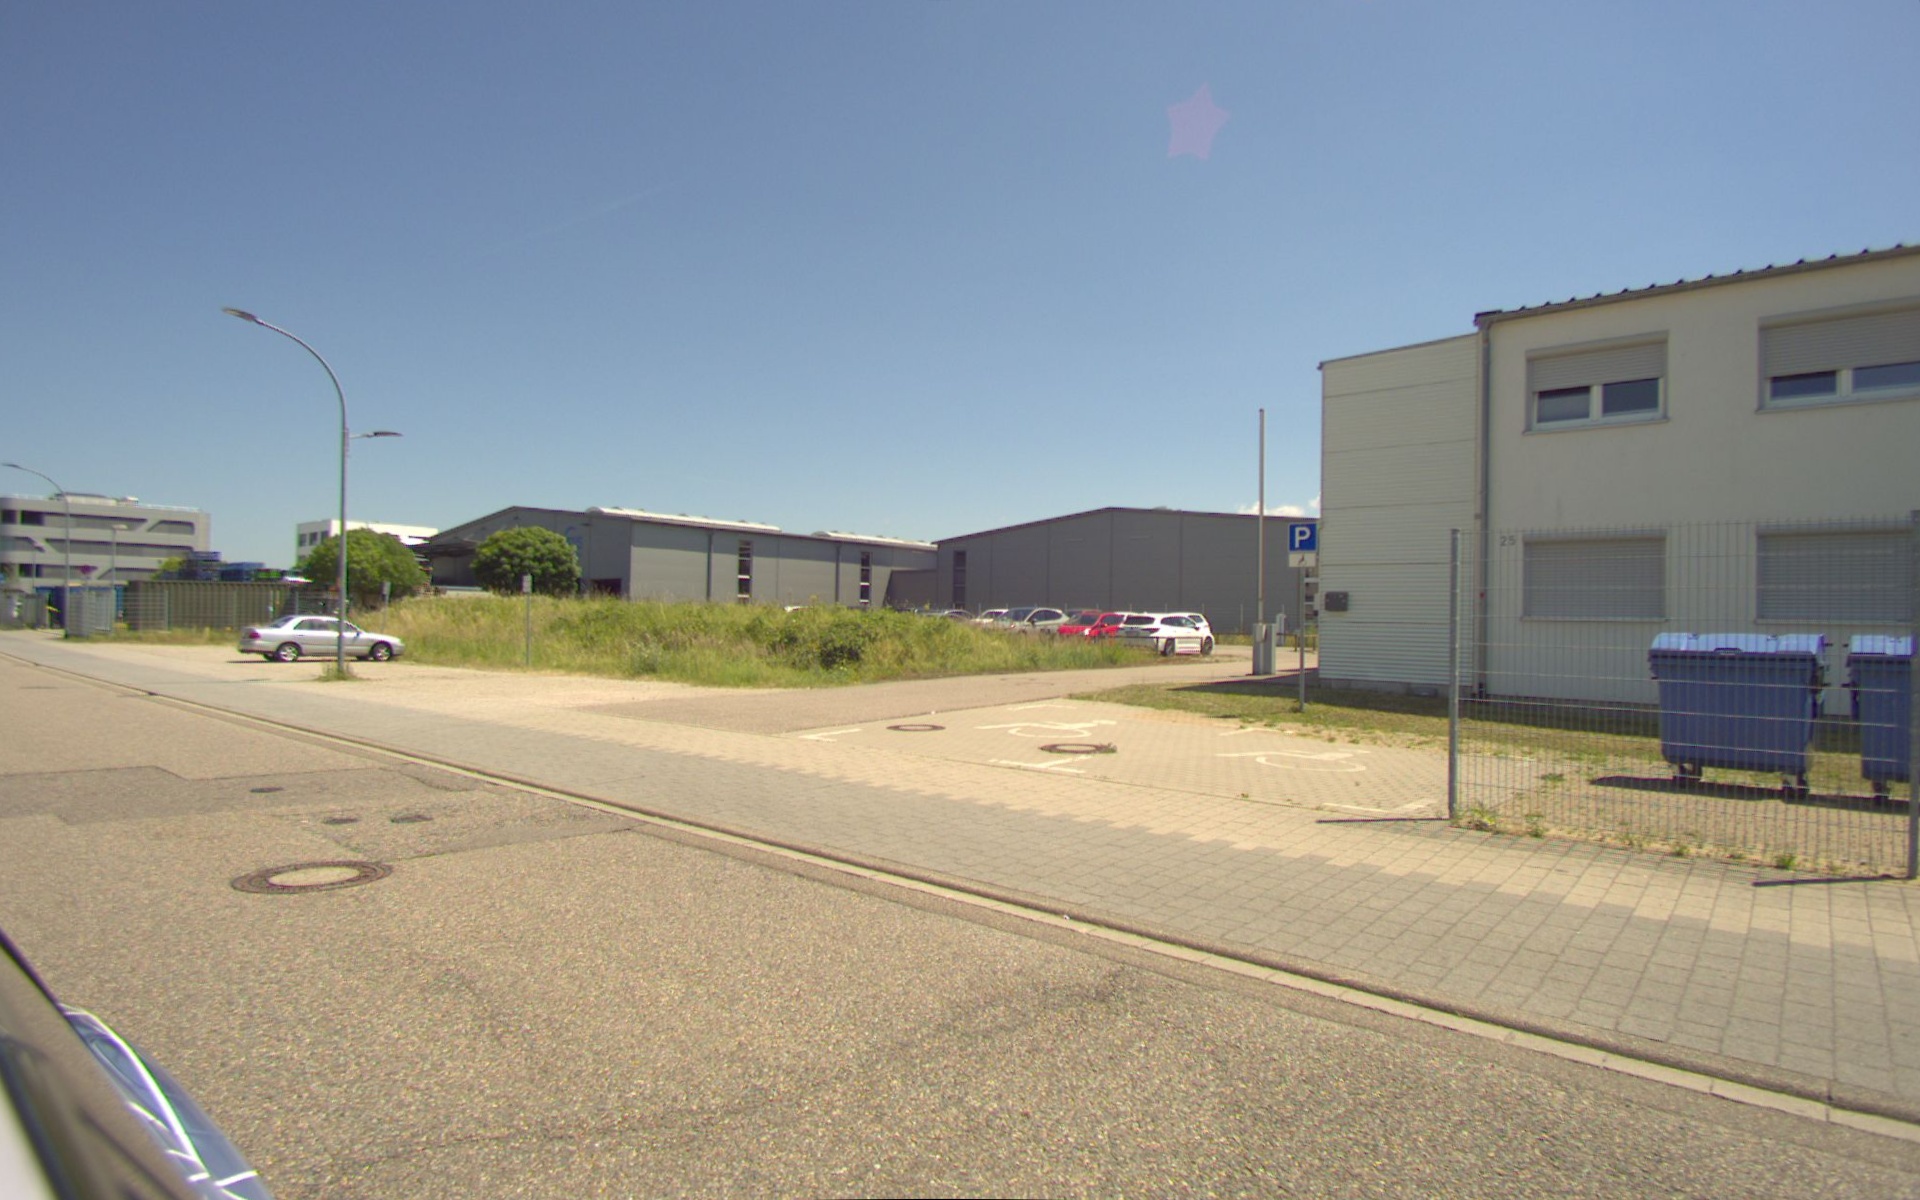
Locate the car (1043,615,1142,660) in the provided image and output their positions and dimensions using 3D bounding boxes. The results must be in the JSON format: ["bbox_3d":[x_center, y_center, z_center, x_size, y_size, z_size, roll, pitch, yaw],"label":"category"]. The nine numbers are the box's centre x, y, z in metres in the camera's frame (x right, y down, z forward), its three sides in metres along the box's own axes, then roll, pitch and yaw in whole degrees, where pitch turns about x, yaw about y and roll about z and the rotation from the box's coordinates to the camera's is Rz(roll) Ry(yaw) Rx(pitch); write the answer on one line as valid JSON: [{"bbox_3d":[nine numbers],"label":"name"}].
[{"bbox_3d":[4.823,1.308,36.456,1.737,1.408,3.839,0,0,41],"label":"car"}]

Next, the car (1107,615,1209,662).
[{"bbox_3d":[6.753,1.251,34.312,1.737,1.408,3.839,0,0,41],"label":"car"}]

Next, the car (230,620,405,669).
[{"bbox_3d":[-19.758,1.362,31.246,1.862,1.390,4.201,-1,-3,42],"label":"car"}]

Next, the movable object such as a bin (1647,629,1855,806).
[{"bbox_3d":[7.388,1.019,9.469,1.434,1.459,1.130,0,-1,44],"label":"movable object such as a bin"}]

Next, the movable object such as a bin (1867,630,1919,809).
[{"bbox_3d":[8.490,0.992,8.421,1.371,1.459,1.112,0,-1,44],"label":"movable object such as a bin"}]

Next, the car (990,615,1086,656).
[{"bbox_3d":[3.036,1.303,38.647,1.737,1.408,3.839,0,0,41],"label":"car"}]
